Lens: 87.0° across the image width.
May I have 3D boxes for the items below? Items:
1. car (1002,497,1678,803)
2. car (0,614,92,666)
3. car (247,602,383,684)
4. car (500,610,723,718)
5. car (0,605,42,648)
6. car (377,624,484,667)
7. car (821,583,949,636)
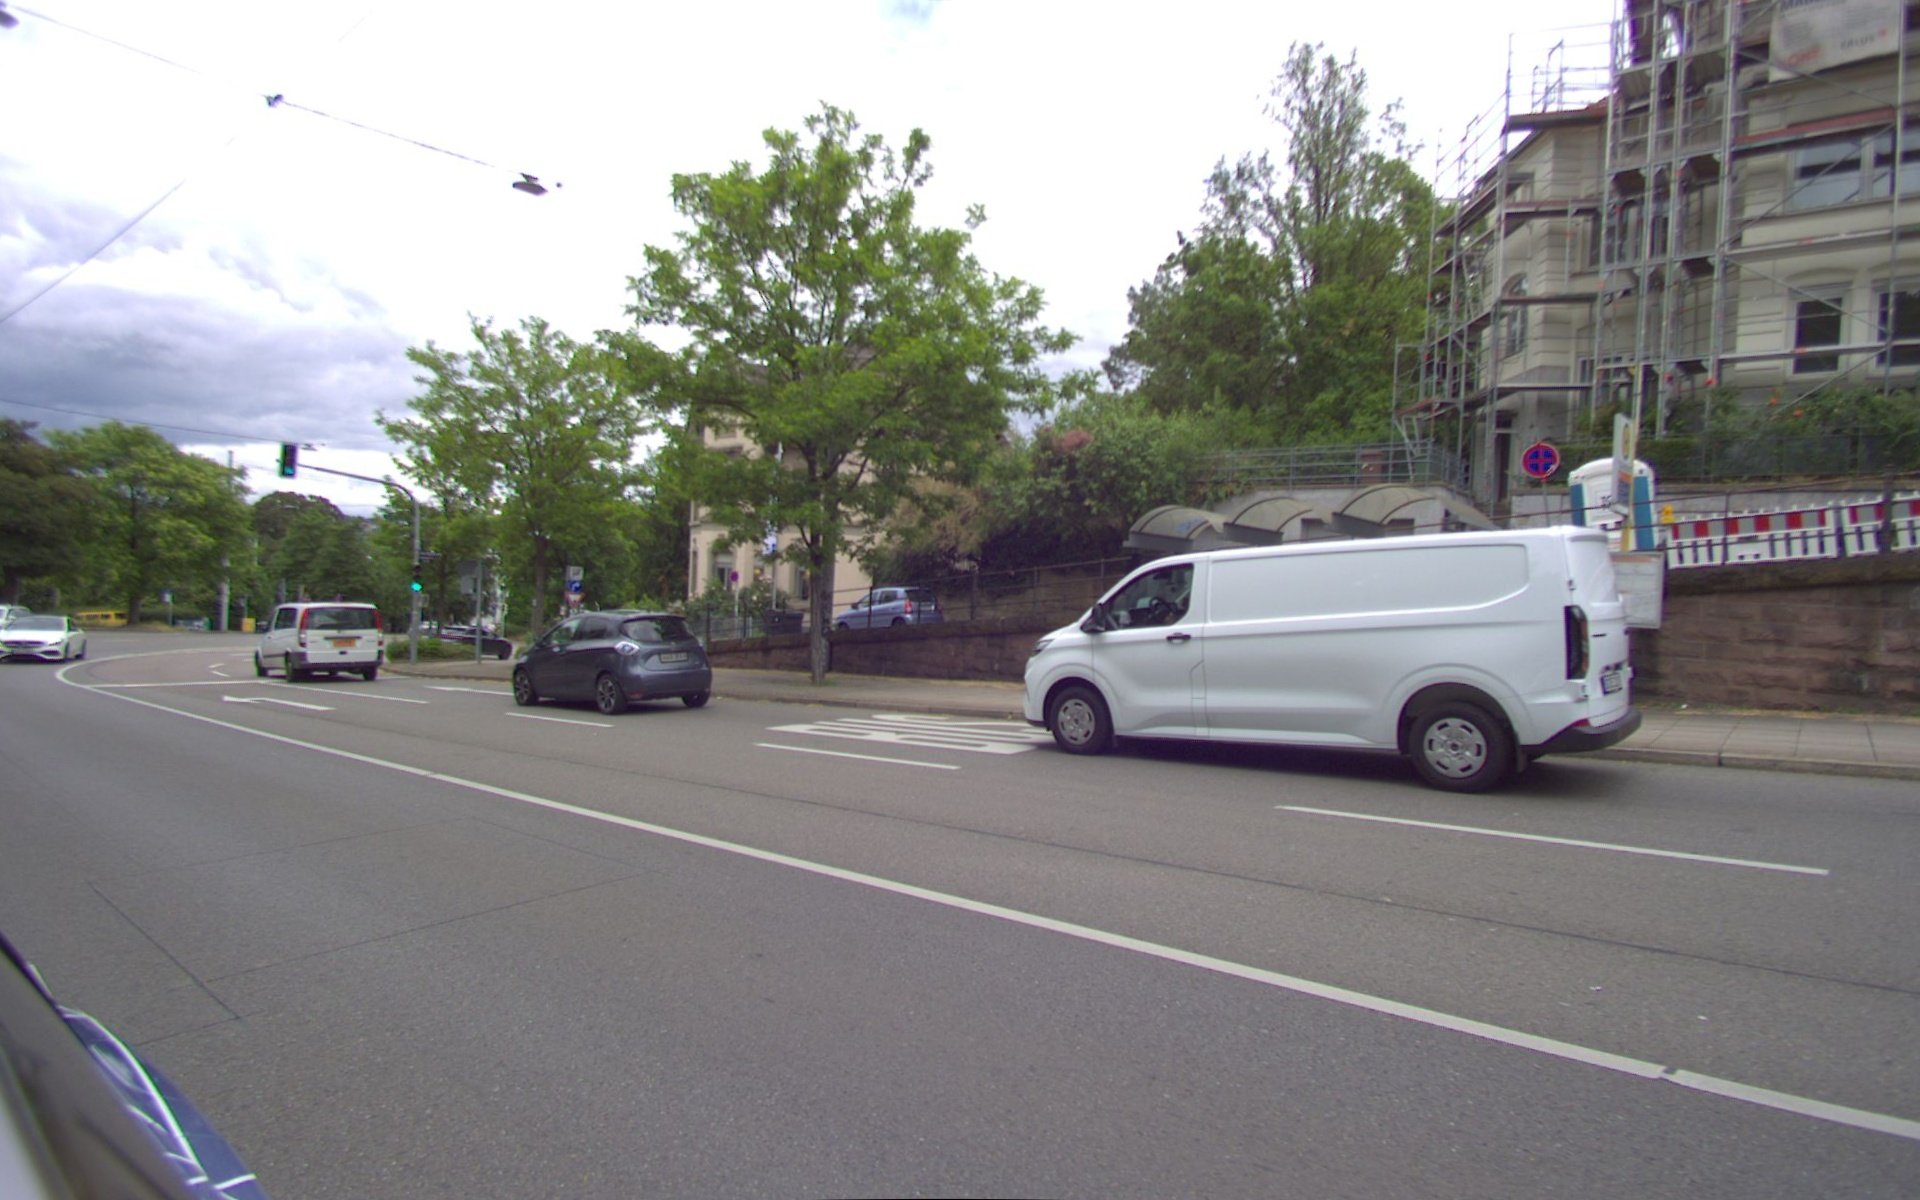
[{"bbox_3d":[3.118,0.400,9.274,5.423,2.029,1.972,-2,-1,42],"label":"car"},{"bbox_3d":[-28.538,1.201,31.236,1.885,1.489,4.540,2,-2,-31],"label":"car"},{"bbox_3d":[-16.224,1.050,25.348,4.852,1.878,1.773,-2,-3,44],"label":"car"},{"bbox_3d":[-5.641,0.946,16.172,3.799,1.503,1.677,-2,-1,41],"label":"car"},{"bbox_3d":[-37.554,0.984,38.829,1.885,1.563,4.541,4,-2,-22],"label":"car"},{"bbox_3d":[-19.298,1.658,36.953,1.548,1.484,3.091,-1,-3,41],"label":"car"},{"bbox_3d":[-2.260,0.316,29.904,3.633,1.432,1.687,-1,-3,41],"label":"car"}]
